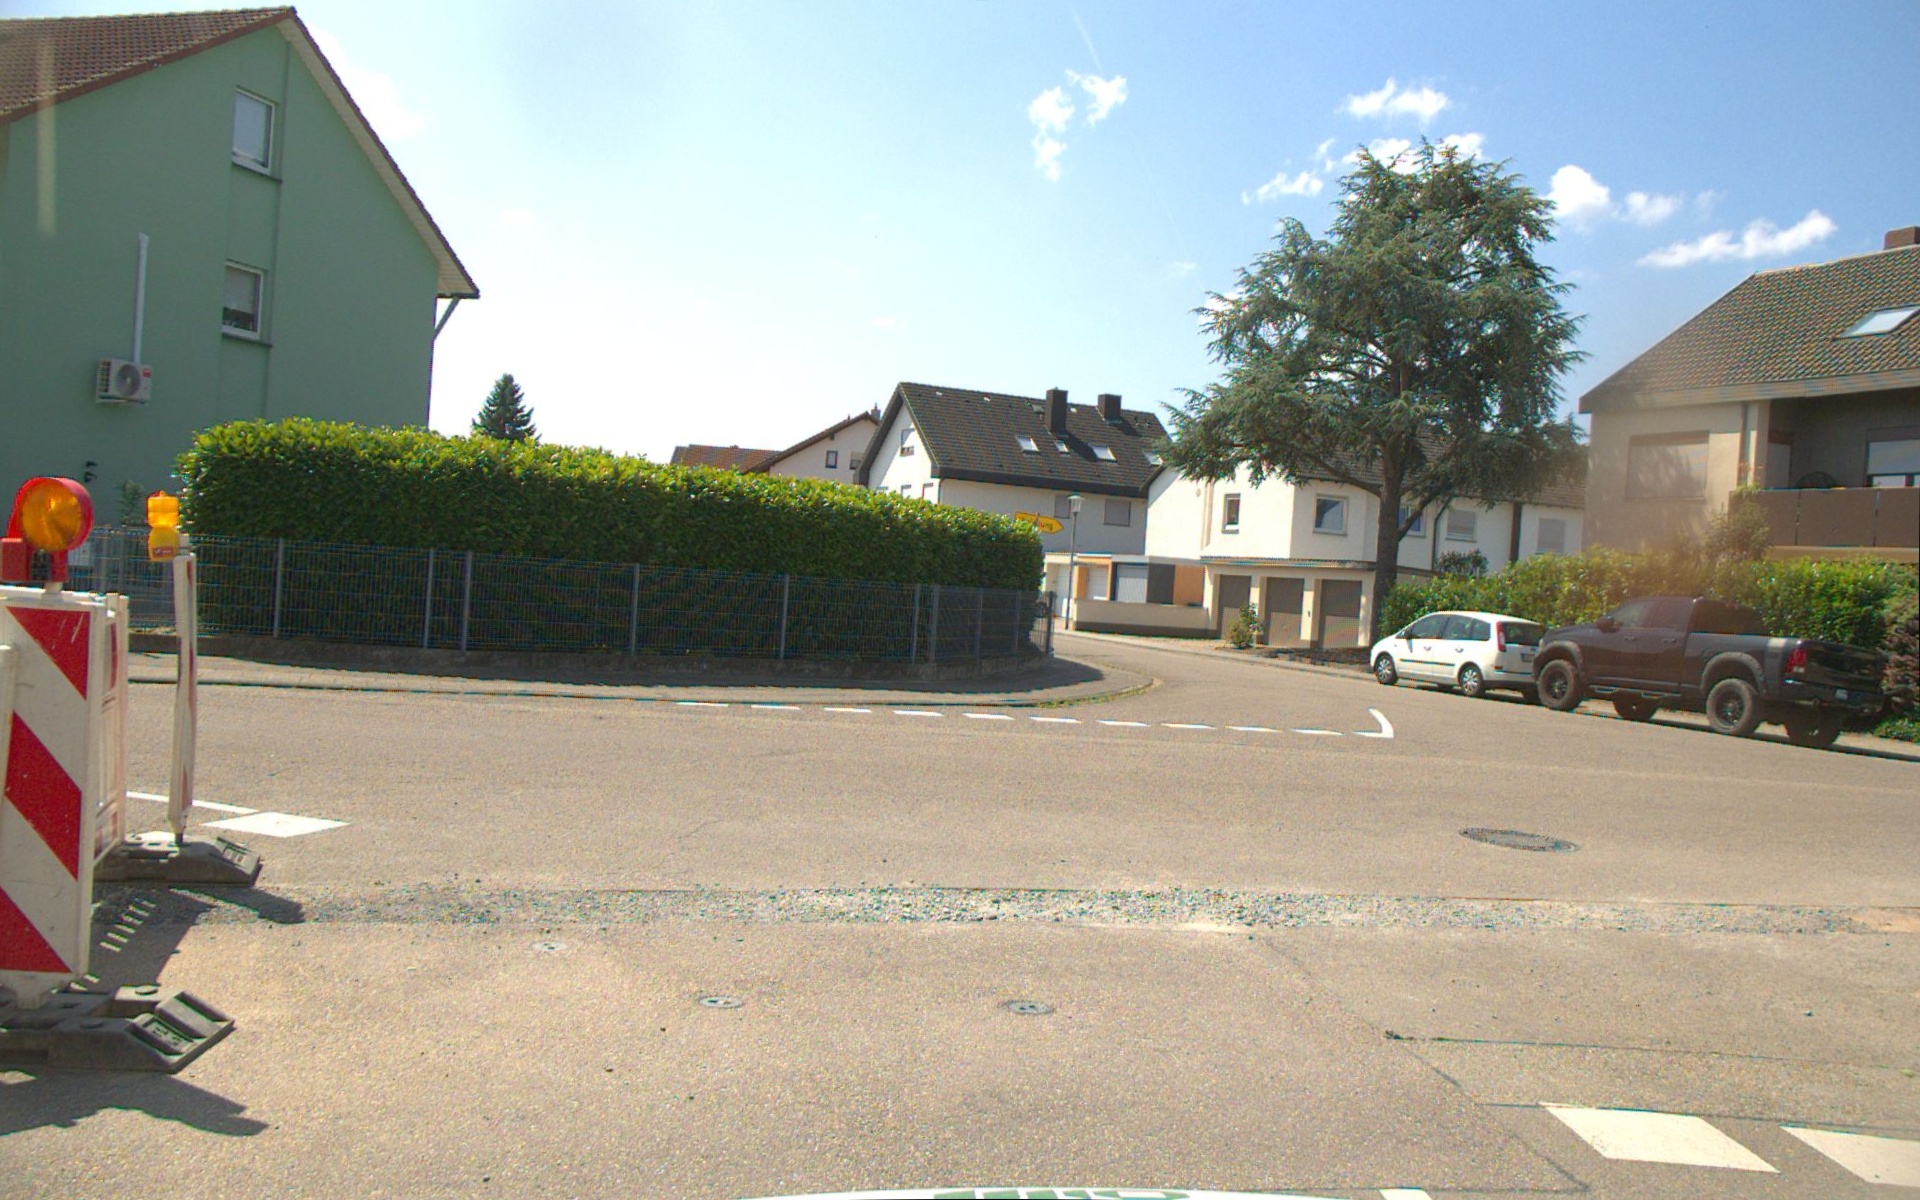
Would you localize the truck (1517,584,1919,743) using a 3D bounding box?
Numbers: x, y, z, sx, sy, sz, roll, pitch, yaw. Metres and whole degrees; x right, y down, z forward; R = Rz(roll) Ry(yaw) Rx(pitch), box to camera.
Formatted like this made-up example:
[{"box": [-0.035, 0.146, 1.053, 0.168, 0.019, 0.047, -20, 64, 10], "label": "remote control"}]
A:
[{"box": [11.982, 0.926, 26.686, 2.334, 2.048, 5.669, 3, 1, -25], "label": "truck"}]

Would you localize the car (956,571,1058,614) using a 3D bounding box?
[{"box": [1.855, -0.293, 65.434, 3.549, 1.432, 1.772, 4, 1, -23], "label": "car"}]

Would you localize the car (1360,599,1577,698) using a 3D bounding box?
[{"box": [9.971, 0.915, 32.731, 1.774, 1.590, 4.113, 4, 1, -24], "label": "car"}]
